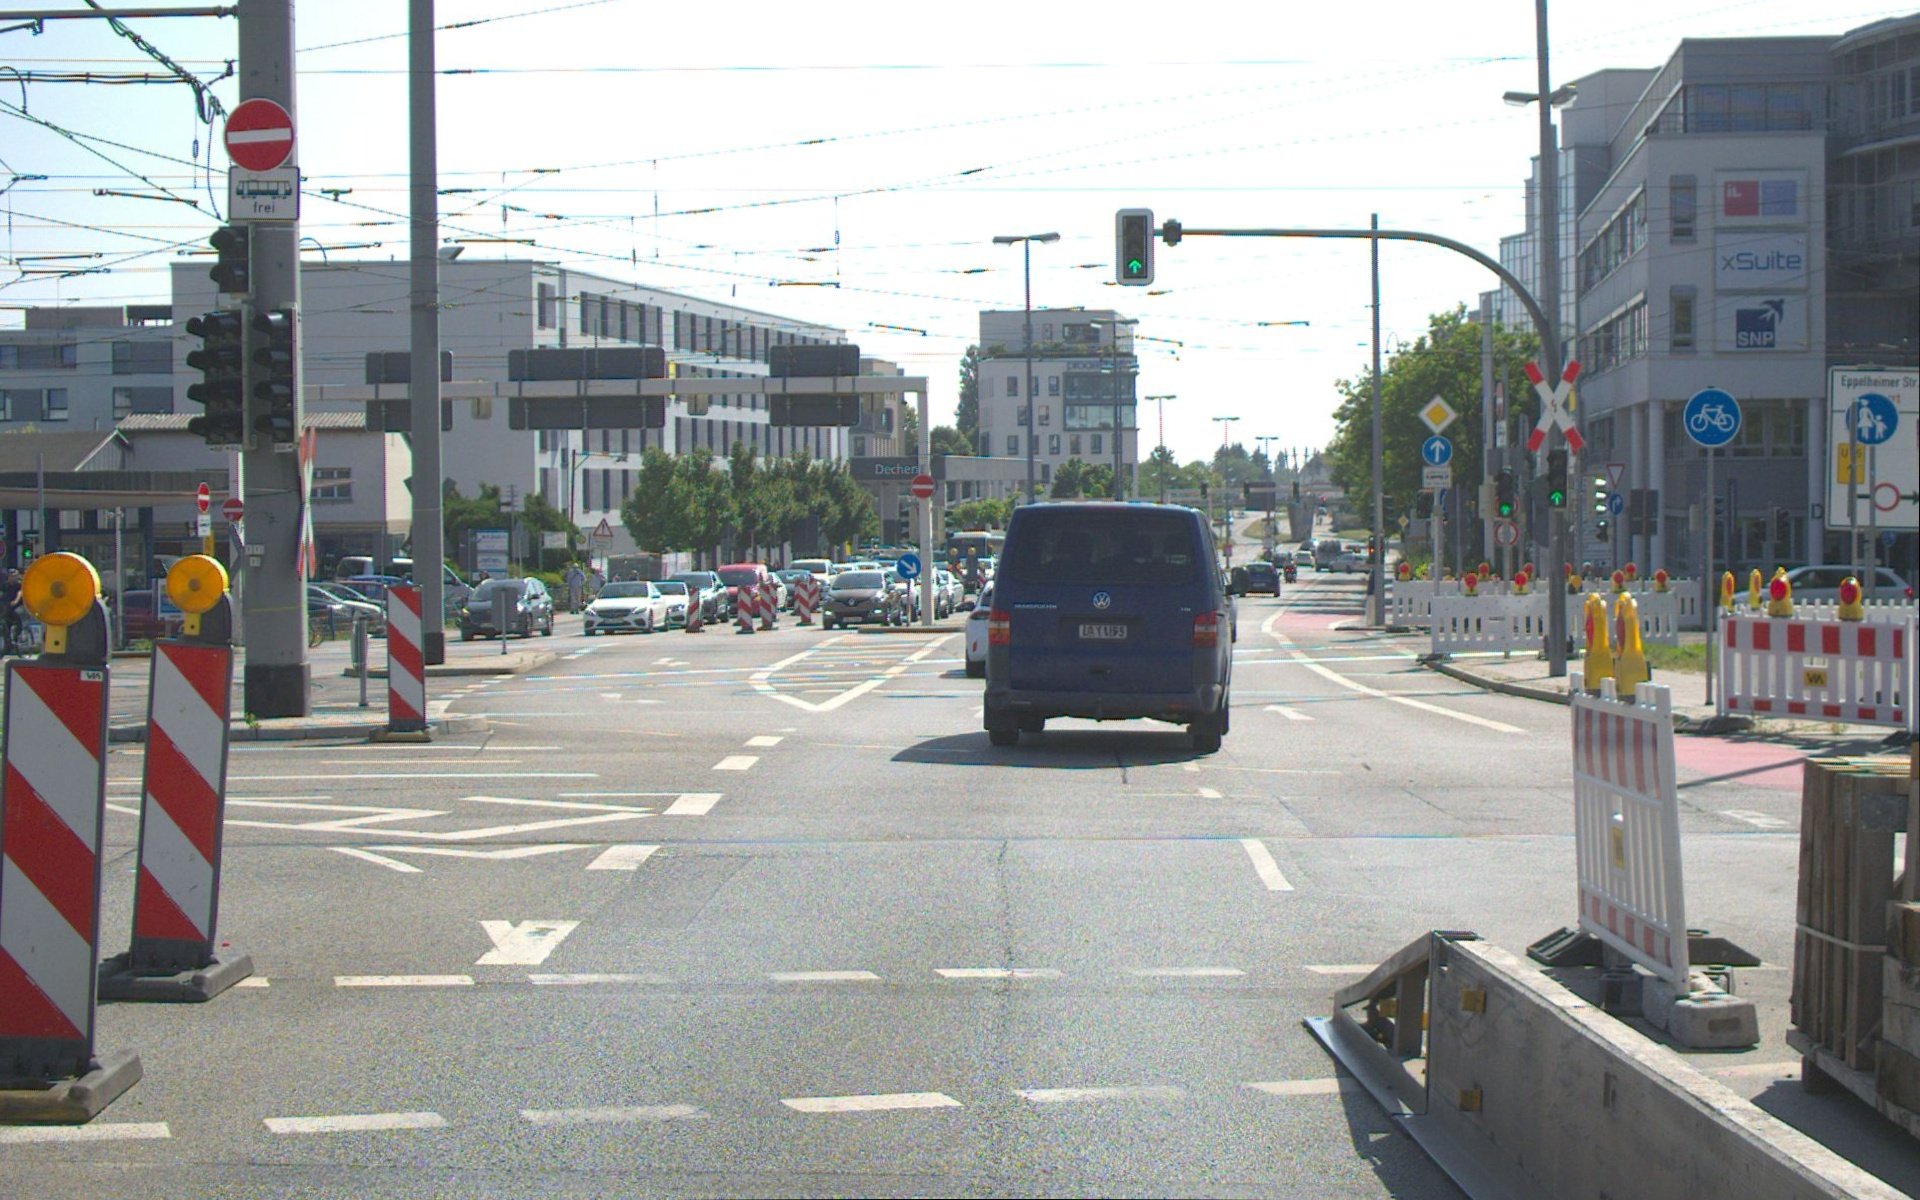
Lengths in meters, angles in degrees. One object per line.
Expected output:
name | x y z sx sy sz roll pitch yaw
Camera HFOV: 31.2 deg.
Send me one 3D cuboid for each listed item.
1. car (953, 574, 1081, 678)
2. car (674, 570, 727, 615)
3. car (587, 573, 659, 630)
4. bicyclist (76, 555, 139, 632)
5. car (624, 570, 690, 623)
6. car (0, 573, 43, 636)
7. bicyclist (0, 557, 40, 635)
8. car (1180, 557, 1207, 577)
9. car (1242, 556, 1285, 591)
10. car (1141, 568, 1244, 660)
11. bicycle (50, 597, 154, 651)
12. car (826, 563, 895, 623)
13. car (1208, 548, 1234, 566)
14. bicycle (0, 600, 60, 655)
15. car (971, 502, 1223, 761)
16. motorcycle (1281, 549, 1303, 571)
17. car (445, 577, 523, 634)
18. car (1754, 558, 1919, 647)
car | 0.834 0.368 52.527 1.827 1.481 3.902 1 1 0
car | -9.127 -0.276 121.210 1.747 1.481 4.001 -1 1 -3
car | -9.190 0.021 94.081 1.747 1.476 4.001 -1 1 -3
bicyclist | -18.202 -0.144 73.414 0.876 1.573 0.969 4 1 13
car | -8.855 -0.121 100.564 1.747 1.481 4.001 -1 1 -3
car | -24.712 0.105 87.354 1.777 1.532 4.000 0 1 0
bicyclist | -19.736 -0.089 71.192 0.876 1.573 0.969 4 1 13
car | 16.071 -2.282 236.771 1.547 1.335 3.016 1 1 -2
car | 12.996 -1.128 147.031 1.744 1.470 3.884 0 1 7
car | 4.468 0.243 66.494 1.684 1.601 3.617 1 2 0
bicycle | -18.278 0.510 73.316 0.882 1.066 2.805 4 1 14
car | -2.683 -0.216 91.948 1.747 1.525 4.001 -1 1 -3
car | 19.191 -3.153 252.599 1.547 1.335 3.016 1 1 -2
bicycle | -19.766 0.564 71.248 0.882 1.066 2.805 4 1 14
car | 1.103 0.183 28.315 1.888 1.927 4.000 1 2 2
motorcycle | 18.989 -2.281 196.472 1.162 1.238 3.007 0 1 7
car | -13.010 0.139 94.188 1.747 1.481 4.001 -1 1 -3
car | 19.172 0.047 73.787 3.813 1.791 1.681 1 2 -1
